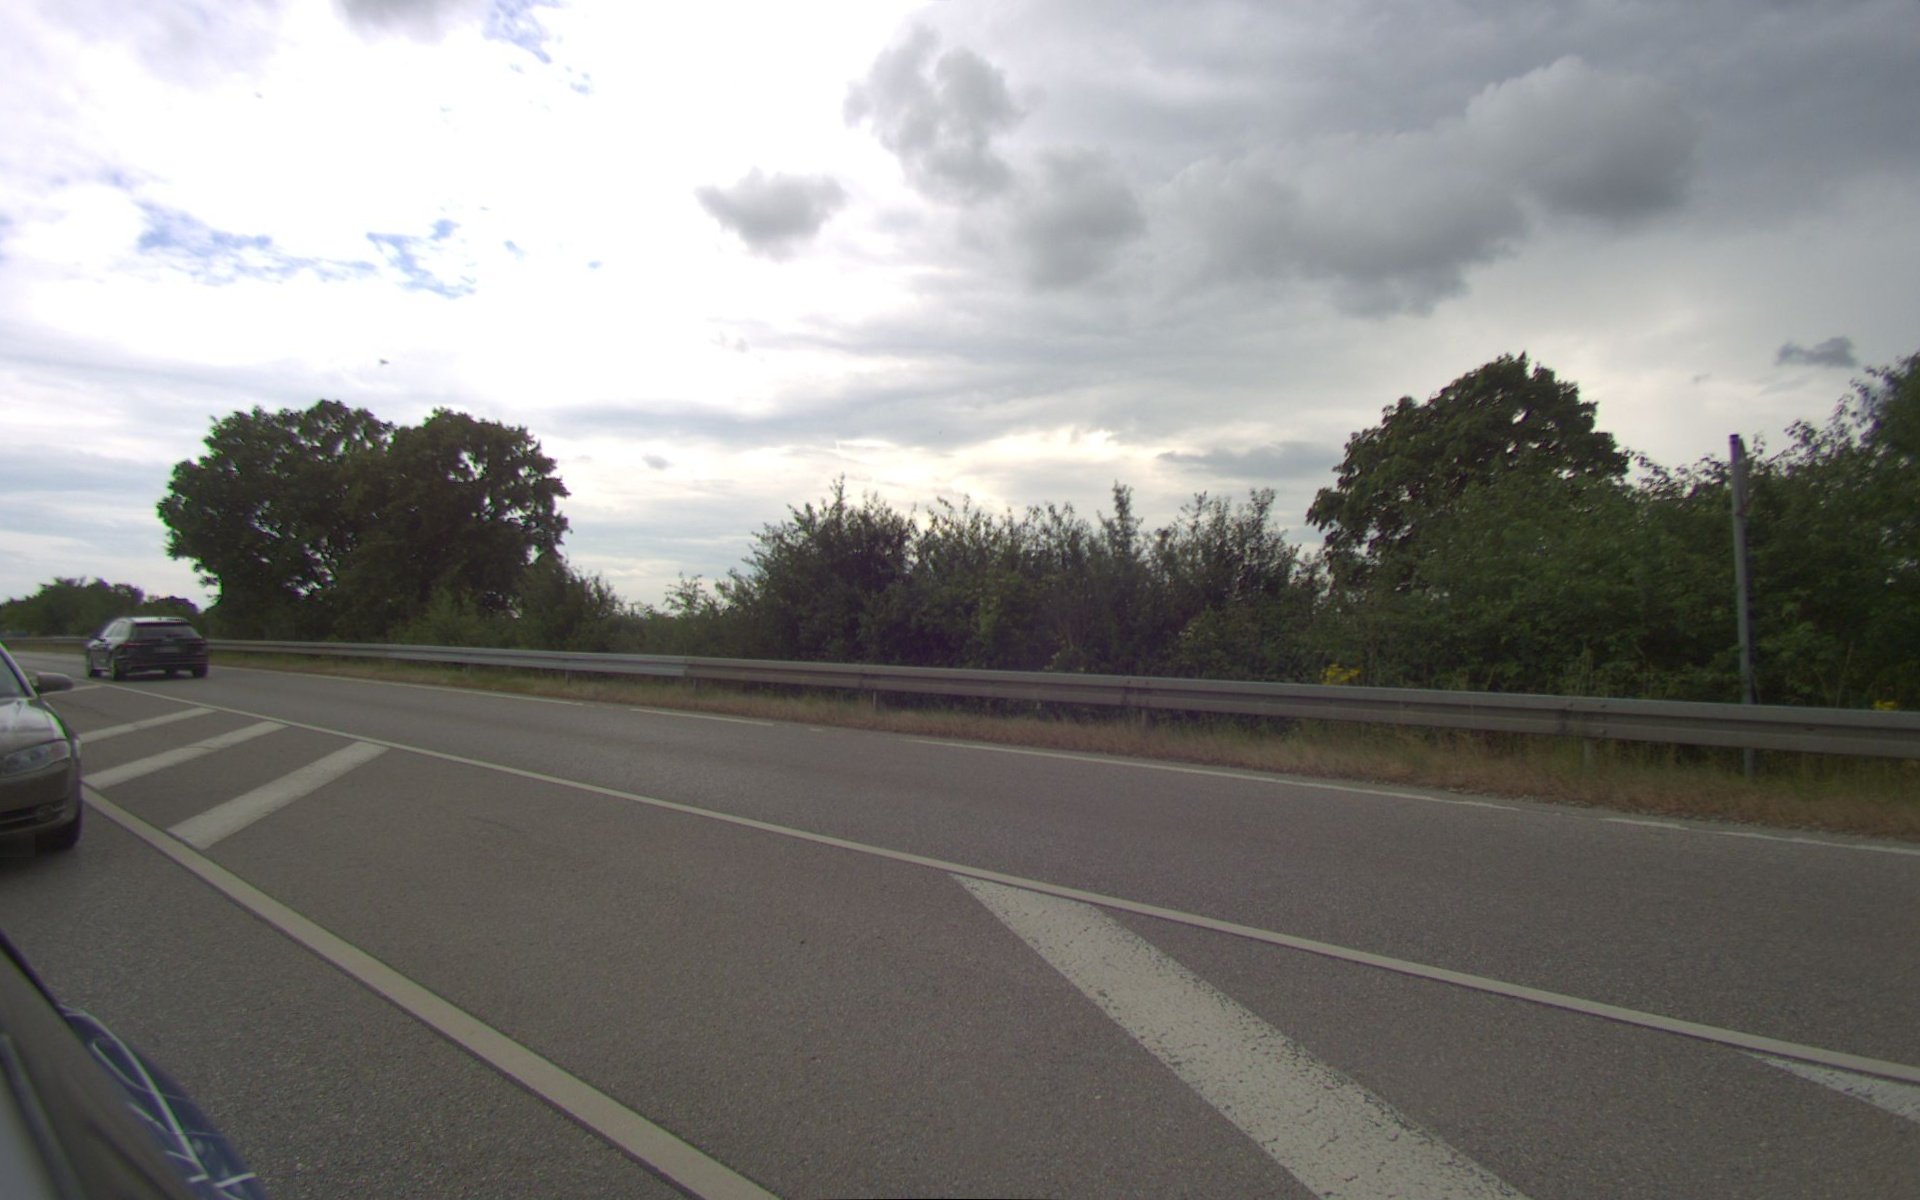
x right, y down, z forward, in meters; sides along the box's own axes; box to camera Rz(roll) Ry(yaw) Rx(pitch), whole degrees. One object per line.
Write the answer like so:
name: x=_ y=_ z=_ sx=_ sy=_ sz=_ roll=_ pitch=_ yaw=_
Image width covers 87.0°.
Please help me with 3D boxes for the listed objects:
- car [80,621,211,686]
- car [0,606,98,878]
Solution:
car: x=-19.696 y=1.212 z=24.405 sx=4.610 sy=1.385 sz=1.801 roll=-1 pitch=-1 yaw=42
car: x=-6.974 y=0.805 z=6.397 sx=4.032 sy=1.461 sz=1.761 roll=-2 pitch=-1 yaw=41
